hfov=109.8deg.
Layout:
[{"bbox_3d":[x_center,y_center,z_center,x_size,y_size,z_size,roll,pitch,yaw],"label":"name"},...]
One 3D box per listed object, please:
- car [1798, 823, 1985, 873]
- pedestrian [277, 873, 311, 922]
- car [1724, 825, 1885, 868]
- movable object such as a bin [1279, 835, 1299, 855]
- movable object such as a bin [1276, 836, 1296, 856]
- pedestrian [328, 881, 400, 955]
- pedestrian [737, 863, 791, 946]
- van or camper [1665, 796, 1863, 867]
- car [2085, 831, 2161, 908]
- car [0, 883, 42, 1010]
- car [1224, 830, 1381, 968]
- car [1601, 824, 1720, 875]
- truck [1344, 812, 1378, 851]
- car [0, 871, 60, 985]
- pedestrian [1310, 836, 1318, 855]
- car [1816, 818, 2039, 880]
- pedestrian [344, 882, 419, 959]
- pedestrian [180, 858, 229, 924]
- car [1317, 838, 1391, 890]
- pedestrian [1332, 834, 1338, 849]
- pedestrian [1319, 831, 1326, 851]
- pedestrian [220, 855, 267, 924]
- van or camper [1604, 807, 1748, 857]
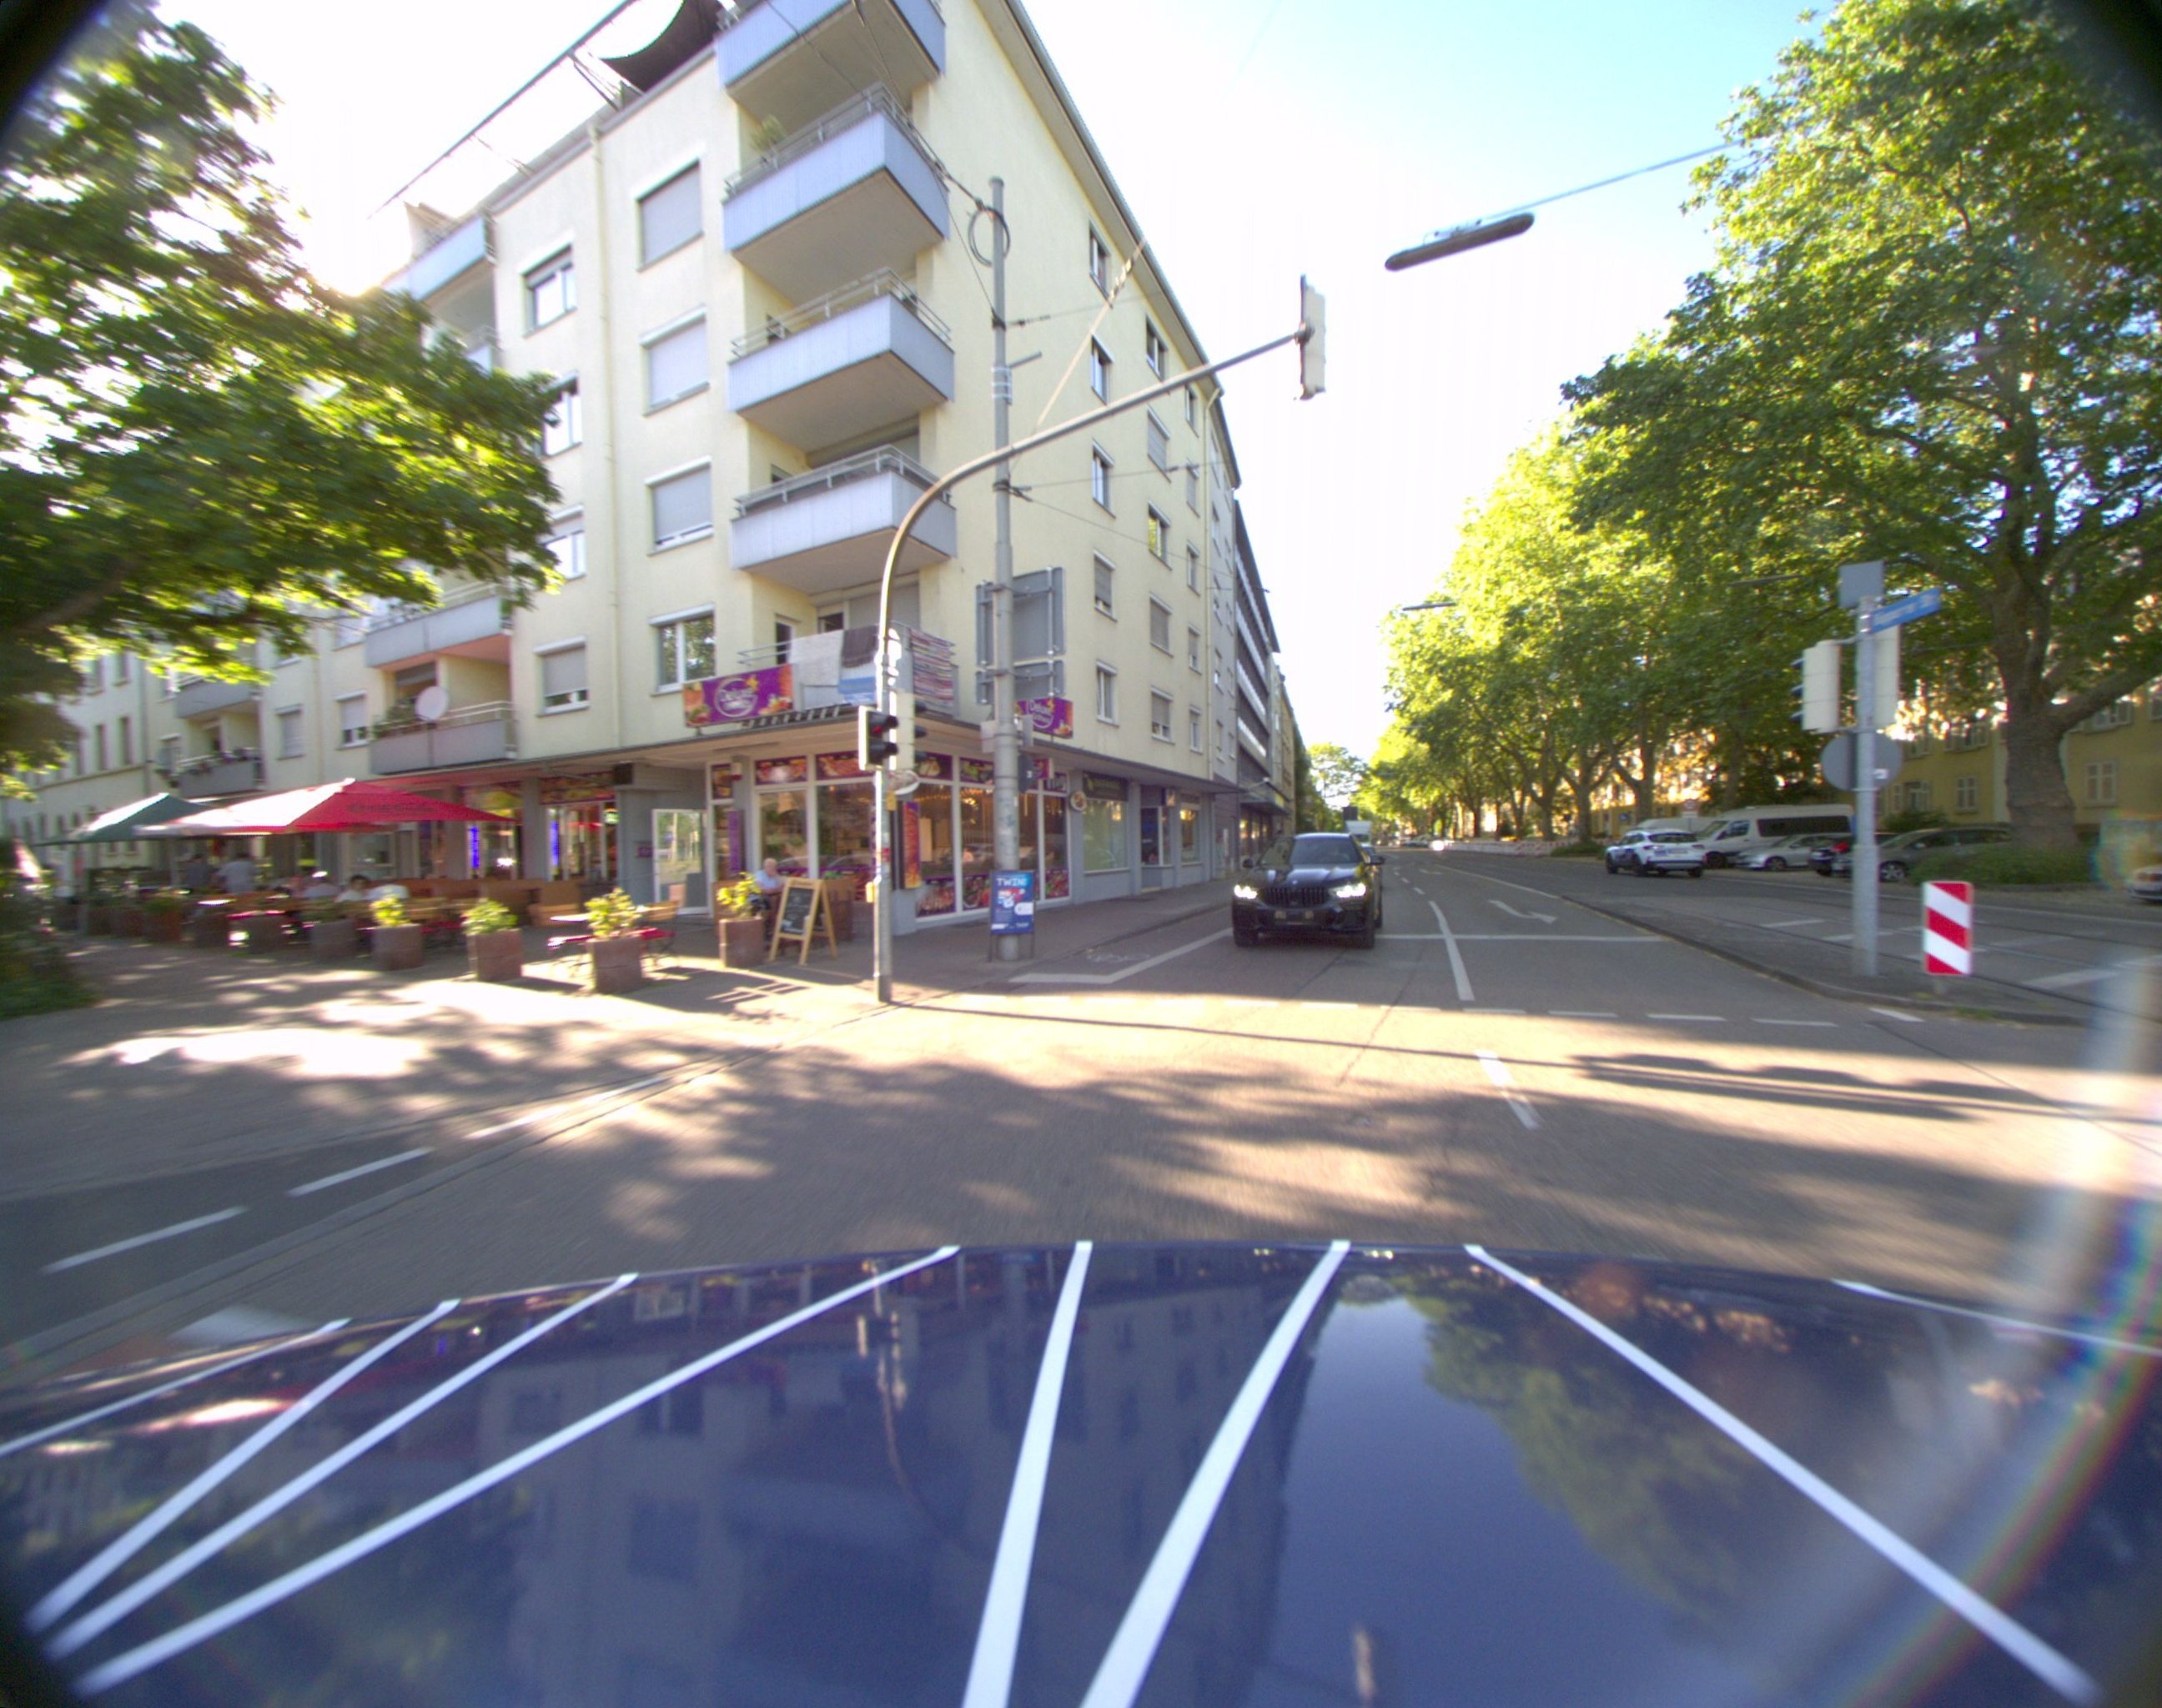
[{"bbox_3d":[26.548,-0.189,25.050,3.855,1.438,1.696,-2,2,22],"label":"car"},{"bbox_3d":[-22.193,1.213,21.426,0.672,1.352,0.572,0,2,39],"label":"pedestrian"},{"bbox_3d":[28.394,-0.295,29.986,4.270,1.438,1.696,-2,2,22],"label":"car"},{"bbox_3d":[14.837,-0.630,54.246,1.202,1.402,1.374,-1,1,22],"label":"movable object such as a bin"},{"bbox_3d":[14.148,-0.555,52.367,1.202,1.402,1.374,-1,1,22],"label":"movable object such as a bin"},{"bbox_3d":[-12.589,1.104,13.352,0.738,1.211,0.661,-1,1,27],"label":"pedestrian"},{"bbox_3d":[-5.298,0.830,12.708,0.492,1.334,0.608,-1,2,28],"label":"pedestrian"},{"bbox_3d":[29.066,-0.924,32.632,5.923,2.633,2.159,-2,2,21],"label":"van or camper"},{"bbox_3d":[22.295,0.216,14.082,4.074,1.361,1.847,-2,2,22],"label":"car"},{"bbox_3d":[-14.919,1.214,8.206,1.706,1.572,4.042,-1,1,24],"label":"car"},{"bbox_3d":[3.707,0.547,12.283,1.928,1.742,4.689,-2,1,20],"label":"car"},{"bbox_3d":[20.418,-0.178,27.018,1.996,1.622,4.636,-1,1,19],"label":"car"},{"bbox_3d":[23.912,-1.968,65.003,2.340,3.096,5.218,-2,1,17],"label":"truck"},{"bbox_3d":[-16.822,1.121,9.877,1.712,1.609,3.910,-1,1,24],"label":"car"},{"bbox_3d":[20.458,-0.746,66.722,0.540,1.712,0.631,-1,2,22],"label":"pedestrian"},{"bbox_3d":[25.163,-0.145,22.797,4.074,1.610,1.847,-2,2,22],"label":"car"},{"bbox_3d":[-11.769,1.096,12.784,0.738,1.211,0.661,-1,1,27],"label":"pedestrian"},{"bbox_3d":[-23.393,0.971,20.287,0.537,1.699,0.724,-1,2,32],"label":"pedestrian"},{"bbox_3d":[8.826,0.277,24.373,1.927,1.397,3.945,-2,1,24],"label":"car"},{"bbox_3d":[25.804,-1.262,77.300,0.540,1.437,0.631,-1,2,22],"label":"pedestrian"},{"bbox_3d":[20.467,-1.095,64.370,0.540,1.662,0.631,-1,2,22],"label":"pedestrian"},{"bbox_3d":[-22.287,0.931,20.221,0.537,1.801,0.675,-1,2,32],"label":"pedestrian"},{"bbox_3d":[32.284,-1.176,41.479,5.754,2.371,2.159,-2,2,21],"label":"van or camper"}]
